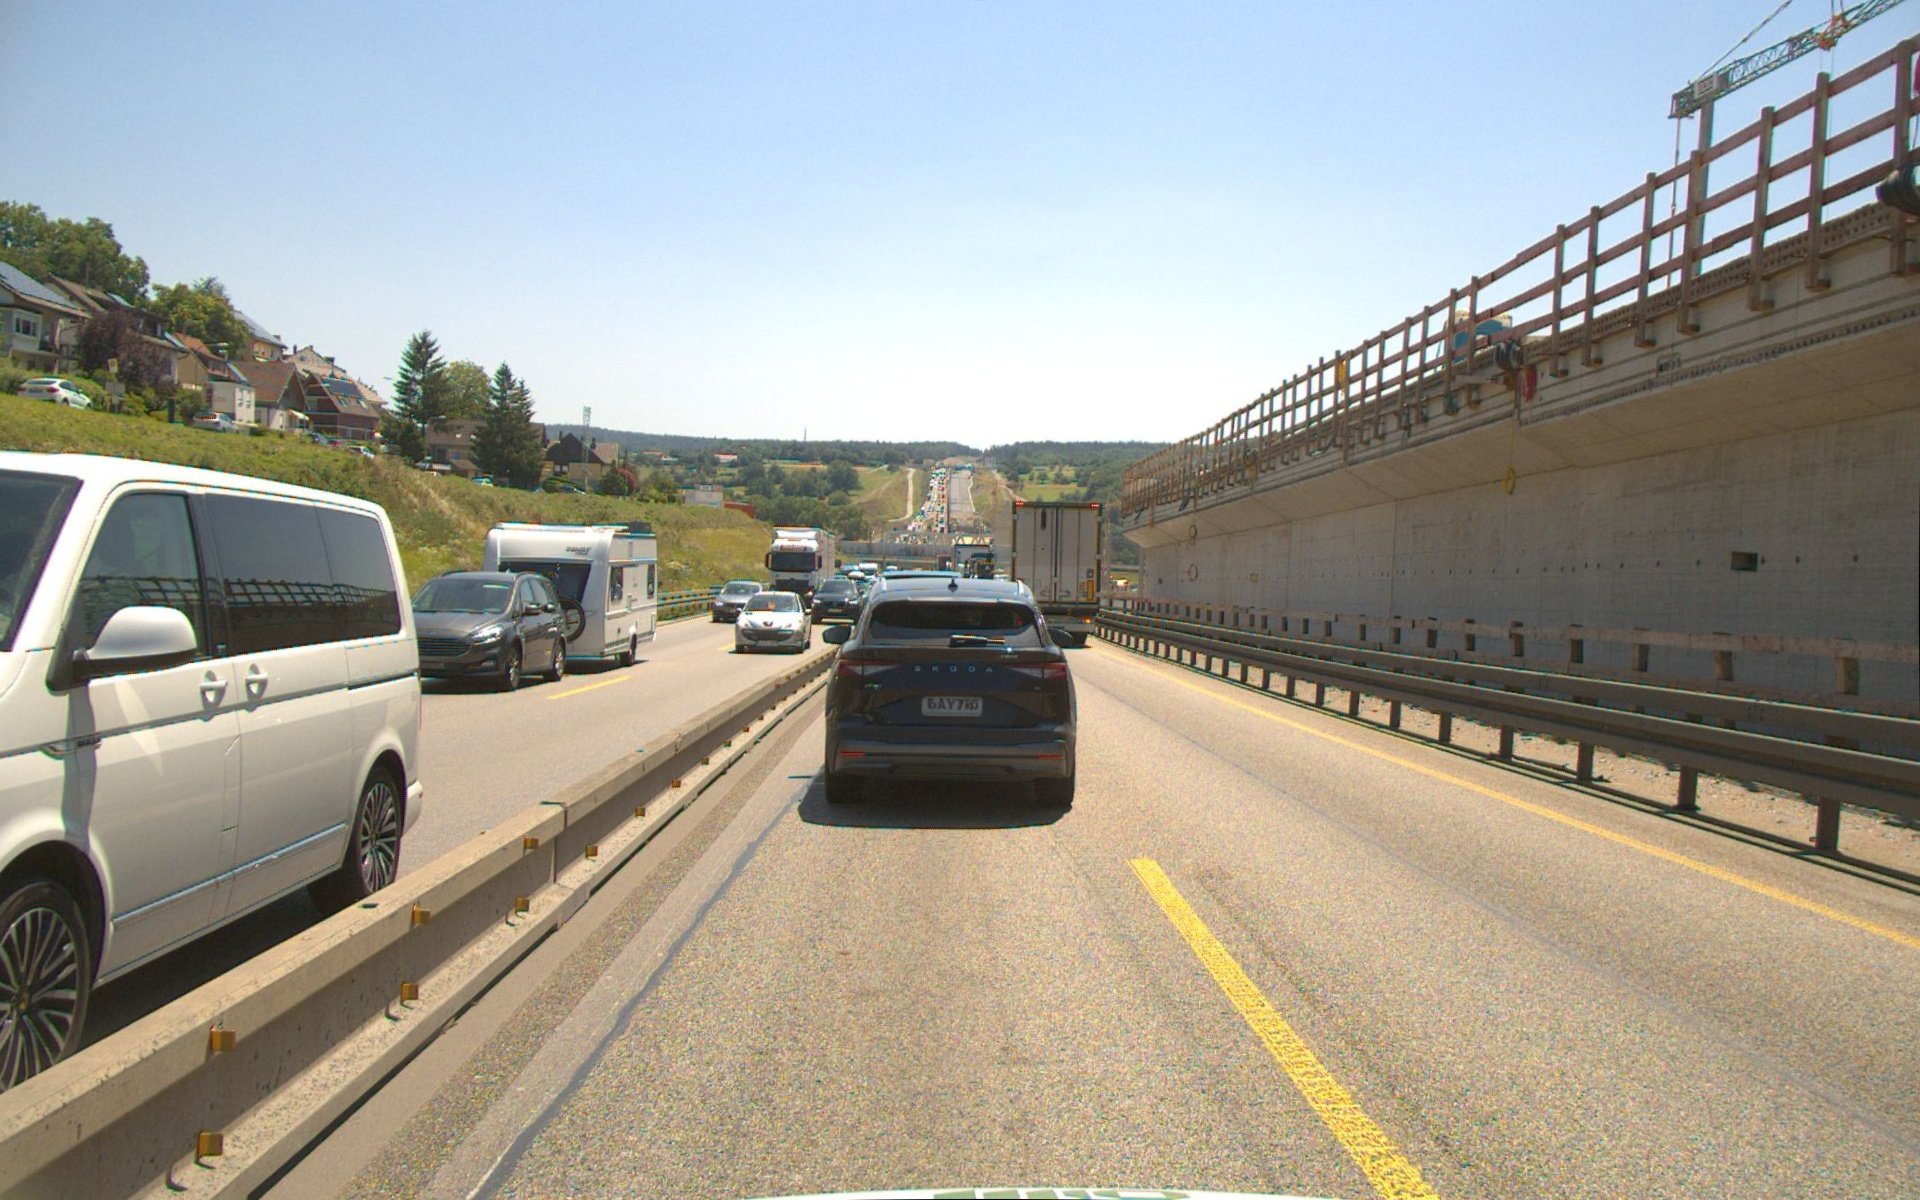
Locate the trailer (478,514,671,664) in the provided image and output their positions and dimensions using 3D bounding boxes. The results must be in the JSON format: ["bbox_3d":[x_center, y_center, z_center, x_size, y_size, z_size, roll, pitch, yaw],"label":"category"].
[{"bbox_3d":[-7.406,-0.161,32.531,2.434,2.659,5.866,0,-1,-1],"label":"trailer"}]

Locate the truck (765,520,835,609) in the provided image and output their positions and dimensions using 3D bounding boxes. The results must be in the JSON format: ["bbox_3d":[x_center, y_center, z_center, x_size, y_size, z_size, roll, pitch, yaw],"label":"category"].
[{"bbox_3d":[-8.463,-1.786,88.519,2.698,4.300,8.098,5,-1,0],"label":"truck"}]

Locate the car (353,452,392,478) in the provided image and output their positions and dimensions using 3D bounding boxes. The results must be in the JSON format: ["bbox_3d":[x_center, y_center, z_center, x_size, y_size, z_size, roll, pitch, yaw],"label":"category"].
[{"bbox_3d":[-46.785,-10.762,131.870,1.718,1.758,3.999,1,0,-2],"label":"car"}]

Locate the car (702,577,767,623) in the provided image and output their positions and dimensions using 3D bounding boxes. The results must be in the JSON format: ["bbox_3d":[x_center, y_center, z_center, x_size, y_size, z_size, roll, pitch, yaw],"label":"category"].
[{"bbox_3d":[-8.264,0.012,60.880,1.835,1.467,3.998,5,-1,-2],"label":"car"}]

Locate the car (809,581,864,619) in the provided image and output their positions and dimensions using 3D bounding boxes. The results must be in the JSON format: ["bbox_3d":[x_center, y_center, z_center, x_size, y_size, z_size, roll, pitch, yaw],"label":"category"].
[{"bbox_3d":[-4.620,0.007,62.217,1.735,1.311,3.999,2,-1,-1],"label":"car"}]

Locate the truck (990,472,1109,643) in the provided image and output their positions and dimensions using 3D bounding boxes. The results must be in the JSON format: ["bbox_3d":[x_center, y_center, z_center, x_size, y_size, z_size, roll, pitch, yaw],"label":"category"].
[{"bbox_3d":[2.624,-1.129,52.239,2.788,4.696,11.808,2,-1,-1],"label":"truck"}]

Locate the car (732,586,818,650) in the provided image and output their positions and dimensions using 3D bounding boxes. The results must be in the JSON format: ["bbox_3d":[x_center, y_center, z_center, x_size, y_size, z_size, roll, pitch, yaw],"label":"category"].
[{"bbox_3d":[-4.455,0.446,40.263,1.668,1.466,3.999,0,-1,-1],"label":"car"}]

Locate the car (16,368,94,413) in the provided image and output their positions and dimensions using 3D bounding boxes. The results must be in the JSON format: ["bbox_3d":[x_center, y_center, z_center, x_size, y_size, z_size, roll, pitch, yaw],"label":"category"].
[{"bbox_3d":[-41.468,-9.587,75.845,1.959,1.342,3.988,5,-1,-12],"label":"car"}]

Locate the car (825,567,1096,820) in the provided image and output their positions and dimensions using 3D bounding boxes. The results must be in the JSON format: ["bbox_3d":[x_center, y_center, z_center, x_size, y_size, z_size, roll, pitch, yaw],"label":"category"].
[{"bbox_3d":[-0.076,0.618,12.741,1.747,1.625,3.753,1,0,-3],"label":"car"}]

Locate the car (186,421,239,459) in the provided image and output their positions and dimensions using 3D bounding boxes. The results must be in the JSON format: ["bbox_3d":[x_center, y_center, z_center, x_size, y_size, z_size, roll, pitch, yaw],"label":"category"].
[{"bbox_3d":[-43.105,-9.190,95.481,1.891,1.758,3.989,1,0,-12],"label":"car"}]

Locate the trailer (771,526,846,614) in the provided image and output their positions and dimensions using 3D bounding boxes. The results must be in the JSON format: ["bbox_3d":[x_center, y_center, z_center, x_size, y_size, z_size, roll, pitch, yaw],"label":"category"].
[{"bbox_3d":[-8.500,-1.511,94.668,2.704,4.347,14.631,5,-1,0],"label":"trailer"}]

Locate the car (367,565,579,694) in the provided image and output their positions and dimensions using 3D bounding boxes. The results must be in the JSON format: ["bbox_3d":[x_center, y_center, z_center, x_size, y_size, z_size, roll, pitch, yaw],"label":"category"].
[{"bbox_3d":[-7.206,0.394,24.986,1.838,1.742,4.647,1,0,-1],"label":"car"}]

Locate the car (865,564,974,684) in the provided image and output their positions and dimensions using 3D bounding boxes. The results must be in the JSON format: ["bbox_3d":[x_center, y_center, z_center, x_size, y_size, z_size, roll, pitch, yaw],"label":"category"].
[{"bbox_3d":[-0.788,0.414,30.018,1.715,1.928,3.752,4,0,-4],"label":"car"}]

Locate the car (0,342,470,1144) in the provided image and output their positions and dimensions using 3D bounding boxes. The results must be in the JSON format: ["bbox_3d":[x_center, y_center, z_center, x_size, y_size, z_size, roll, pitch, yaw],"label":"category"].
[{"bbox_3d":[-3.406,0.372,6.096,1.825,2.049,4.803,1,-1,-2],"label":"car"}]
